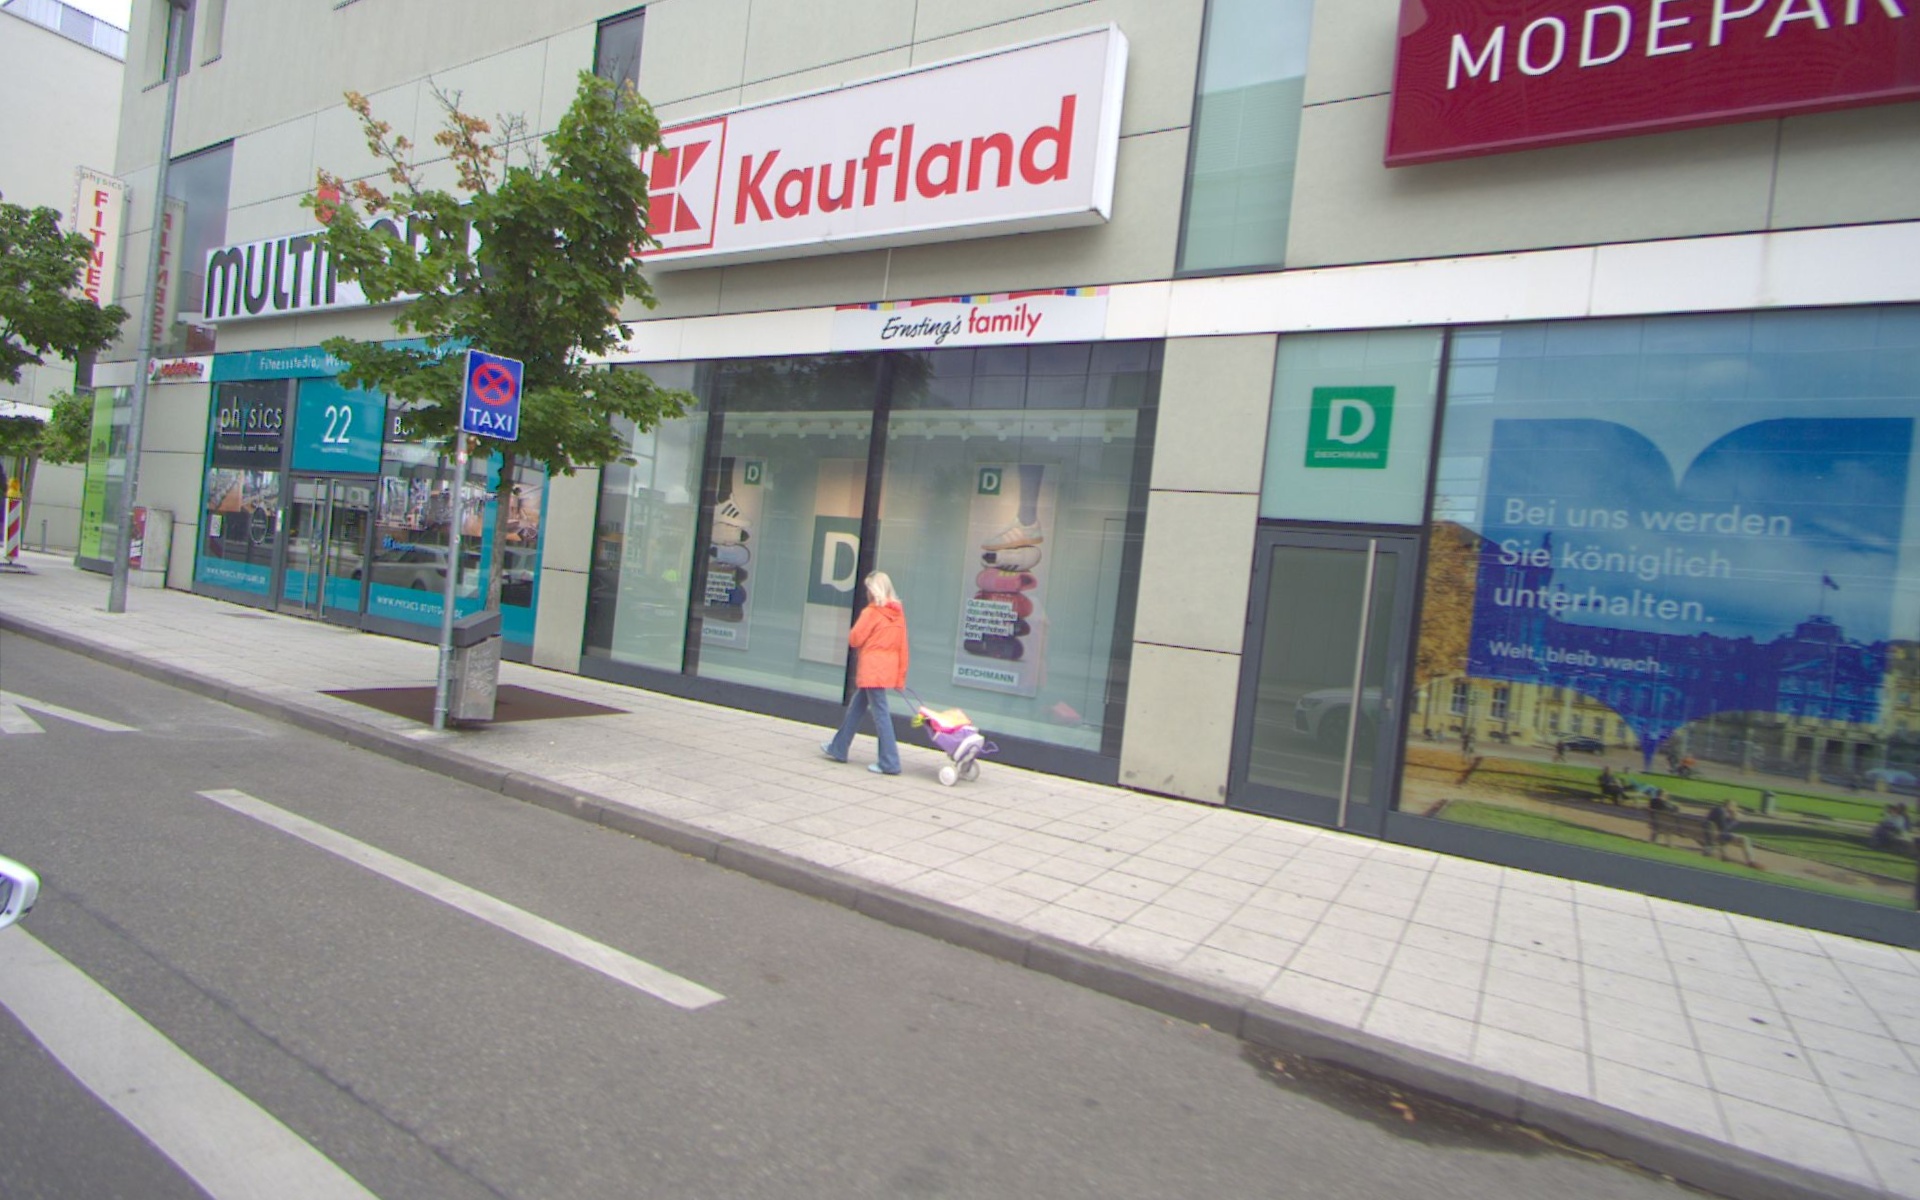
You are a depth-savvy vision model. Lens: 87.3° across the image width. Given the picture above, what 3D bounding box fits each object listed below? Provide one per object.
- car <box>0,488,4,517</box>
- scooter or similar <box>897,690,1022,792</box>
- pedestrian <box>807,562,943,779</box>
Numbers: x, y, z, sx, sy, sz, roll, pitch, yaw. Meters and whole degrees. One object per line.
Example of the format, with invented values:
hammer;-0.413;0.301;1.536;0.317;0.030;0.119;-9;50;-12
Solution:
car;-12.537;-0.699;11.008;4.711;1.559;1.740;6;-2;32
scooter or similar;-0.001;1.090;7.926;0.755;0.642;0.551;7;2;32
pedestrian;-0.674;0.540;7.998;0.720;1.588;0.589;7;2;32
